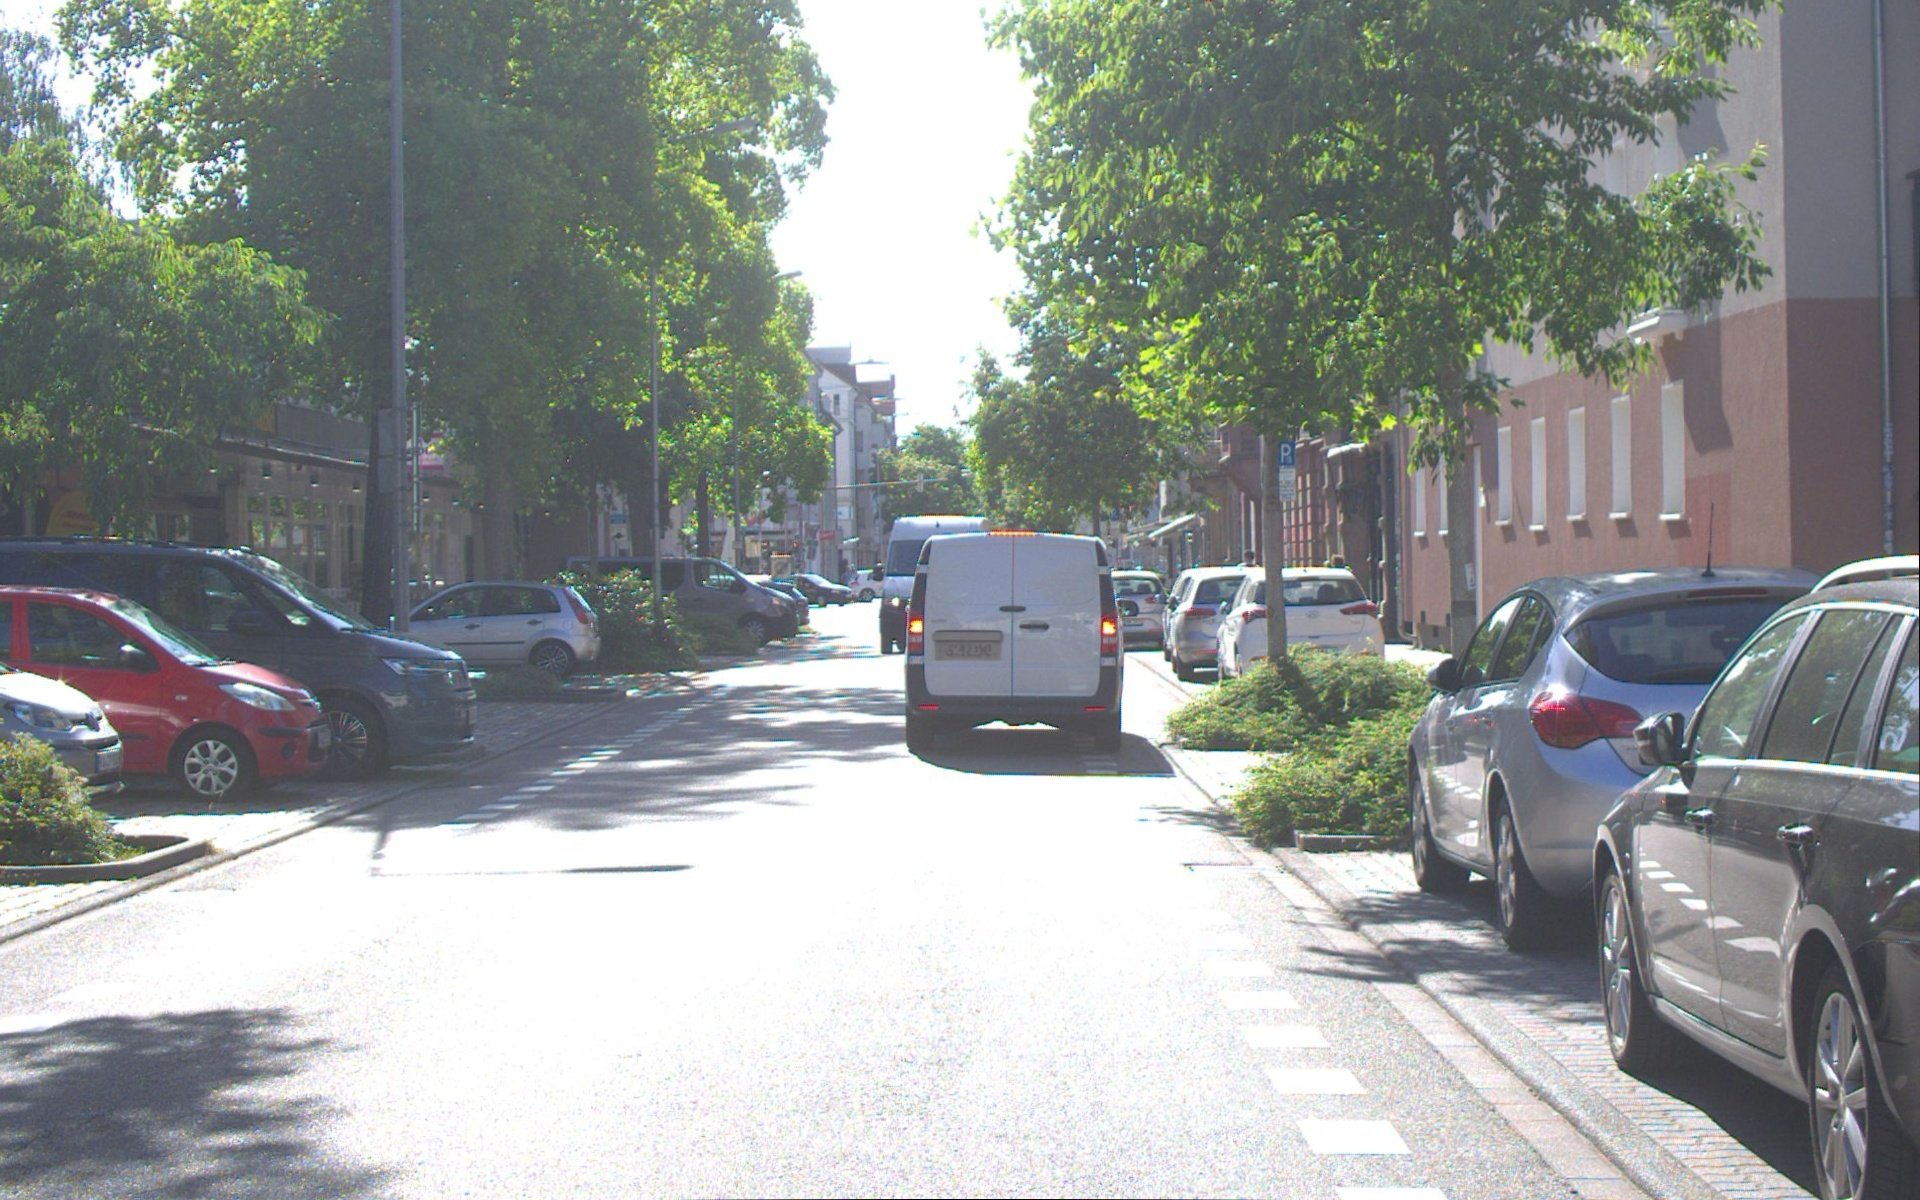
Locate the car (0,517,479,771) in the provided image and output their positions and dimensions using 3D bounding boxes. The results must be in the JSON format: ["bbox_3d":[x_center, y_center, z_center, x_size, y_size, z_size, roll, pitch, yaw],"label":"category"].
[{"bbox_3d":[-6.652,0.348,28.042,5.212,1.974,1.662,-1,1,0],"label":"car"}]

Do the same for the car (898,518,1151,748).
[{"bbox_3d":[0.544,0.229,31.642,2.101,1.901,5.425,-1,1,0],"label":"car"}]

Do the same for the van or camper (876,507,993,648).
[{"bbox_3d":[-0.428,-0.444,64.143,1.993,2.467,5.820,-2,1,1],"label":"van or camper"}]

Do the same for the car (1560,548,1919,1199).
[{"bbox_3d":[2.746,0.629,8.572,1.783,1.514,4.308,-2,1,1],"label":"car"}]

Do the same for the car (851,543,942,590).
[{"bbox_3d":[-2.854,-1.522,154.025,3.986,2.007,2.000,-1,1,-3],"label":"car"}]

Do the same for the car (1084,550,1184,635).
[{"bbox_3d":[3.256,-0.161,64.952,1.740,1.514,3.858,-1,1,1],"label":"car"}]

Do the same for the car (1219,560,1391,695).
[{"bbox_3d":[4.108,0.298,41.411,1.740,1.514,3.858,-1,1,1],"label":"car"}]

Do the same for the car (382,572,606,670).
[{"bbox_3d":[-6.895,0.299,51.071,3.099,1.404,1.662,-1,1,0],"label":"car"}]

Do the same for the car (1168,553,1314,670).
[{"bbox_3d":[3.806,0.128,47.086,1.740,1.514,3.858,-1,1,1],"label":"car"}]

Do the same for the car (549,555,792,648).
[{"bbox_3d":[-6.360,0.021,75.933,5.212,1.974,1.662,-1,1,0],"label":"car"}]

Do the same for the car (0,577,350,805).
[{"bbox_3d":[-6.991,0.661,25.496,4.626,1.605,1.662,-1,1,0],"label":"car"}]

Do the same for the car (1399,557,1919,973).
[{"bbox_3d":[2.960,0.588,14.666,1.740,1.514,3.858,-1,1,1],"label":"car"}]
